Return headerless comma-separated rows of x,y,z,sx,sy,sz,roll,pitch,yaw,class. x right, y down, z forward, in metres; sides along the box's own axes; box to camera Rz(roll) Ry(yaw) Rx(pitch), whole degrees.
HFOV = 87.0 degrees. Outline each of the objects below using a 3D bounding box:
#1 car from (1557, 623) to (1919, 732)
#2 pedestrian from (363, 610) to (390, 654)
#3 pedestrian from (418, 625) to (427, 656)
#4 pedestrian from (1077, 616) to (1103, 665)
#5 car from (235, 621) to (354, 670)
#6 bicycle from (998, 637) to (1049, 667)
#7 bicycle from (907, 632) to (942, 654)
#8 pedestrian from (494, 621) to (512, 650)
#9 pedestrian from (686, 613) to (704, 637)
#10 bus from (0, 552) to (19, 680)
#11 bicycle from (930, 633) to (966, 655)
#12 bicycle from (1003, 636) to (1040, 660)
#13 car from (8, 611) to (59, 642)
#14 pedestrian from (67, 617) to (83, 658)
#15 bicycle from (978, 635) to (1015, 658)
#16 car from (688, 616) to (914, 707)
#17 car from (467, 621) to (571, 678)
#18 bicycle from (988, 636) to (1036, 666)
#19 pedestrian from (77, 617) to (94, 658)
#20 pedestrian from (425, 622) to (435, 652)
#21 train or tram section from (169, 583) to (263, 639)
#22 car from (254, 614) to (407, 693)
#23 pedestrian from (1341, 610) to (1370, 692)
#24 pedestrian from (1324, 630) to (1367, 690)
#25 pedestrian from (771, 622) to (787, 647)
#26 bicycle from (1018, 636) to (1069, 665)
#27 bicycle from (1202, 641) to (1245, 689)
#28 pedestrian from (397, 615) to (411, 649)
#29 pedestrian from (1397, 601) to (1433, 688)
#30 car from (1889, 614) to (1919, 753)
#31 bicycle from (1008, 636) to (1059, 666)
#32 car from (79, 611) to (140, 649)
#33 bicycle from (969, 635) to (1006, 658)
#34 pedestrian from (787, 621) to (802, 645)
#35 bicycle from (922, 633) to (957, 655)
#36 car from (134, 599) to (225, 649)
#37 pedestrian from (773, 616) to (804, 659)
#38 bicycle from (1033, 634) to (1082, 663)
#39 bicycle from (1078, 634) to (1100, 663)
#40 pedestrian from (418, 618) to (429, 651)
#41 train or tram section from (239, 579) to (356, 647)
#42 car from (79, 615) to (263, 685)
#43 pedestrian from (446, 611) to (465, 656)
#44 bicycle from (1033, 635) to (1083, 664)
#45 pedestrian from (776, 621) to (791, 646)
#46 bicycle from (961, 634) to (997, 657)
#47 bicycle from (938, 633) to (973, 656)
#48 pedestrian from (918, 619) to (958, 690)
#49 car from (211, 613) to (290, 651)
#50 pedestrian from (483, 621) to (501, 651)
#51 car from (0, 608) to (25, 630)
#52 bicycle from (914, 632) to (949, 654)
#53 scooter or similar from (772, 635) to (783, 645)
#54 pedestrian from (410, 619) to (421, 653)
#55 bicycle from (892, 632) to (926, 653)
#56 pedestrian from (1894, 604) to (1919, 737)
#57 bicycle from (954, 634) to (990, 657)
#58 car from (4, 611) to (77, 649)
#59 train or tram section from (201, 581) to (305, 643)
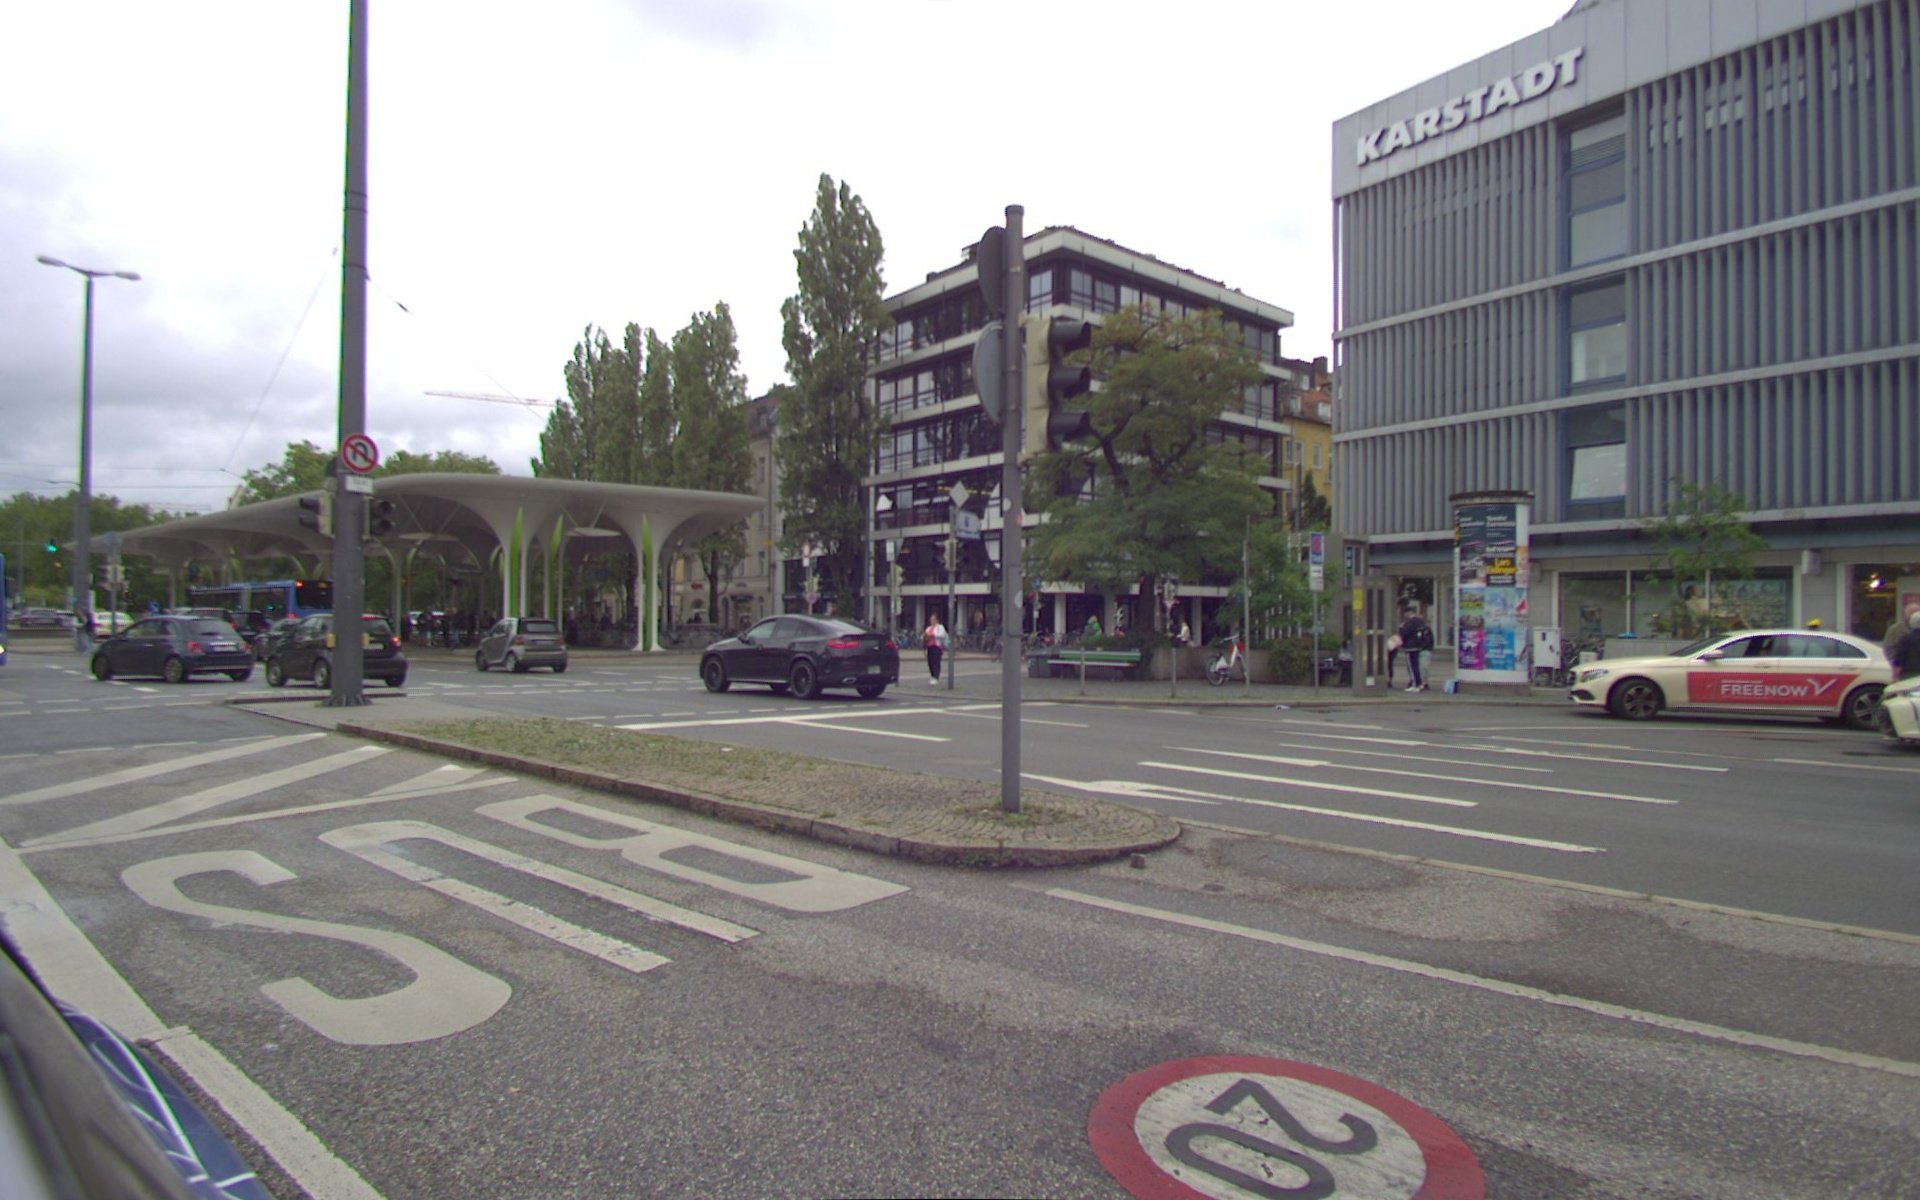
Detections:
11.977,1.129,15.966,4.277,1.522,1.842,-1,-2,27,car
-23.390,1.283,40.576,0.788,1.762,0.702,-1,-2,41,pedestrian
-24.068,1.808,45.309,0.312,1.353,0.340,1,-2,-32,pedestrian
4.632,1.433,35.976,0.647,1.748,0.757,-1,-2,34,pedestrian
-21.269,1.396,32.280,4.612,1.427,1.973,-1,-2,40,car
2.217,1.811,35.639,1.925,1.006,0.503,-1,-2,42,bicycle
-1.934,2.325,54.848,2.044,1.142,0.562,2,-2,-43,bicycle
-21.255,1.641,47.090,0.591,1.348,0.542,-1,-2,41,pedestrian
-19.688,1.851,75.304,0.944,1.786,0.978,0,-2,13,pedestrian
-27.574,0.383,25.645,11.181,2.966,2.910,0,0,33,bus
-0.631,2.324,53.518,2.044,1.142,0.562,2,-2,-43,bicycle
3.026,2.324,49.504,2.044,1.142,0.562,2,-2,-43,bicycle
-54.599,1.548,59.622,3.999,1.696,1.823,0,0,42,car
-31.228,1.321,35.706,0.380,1.430,0.352,-1,-2,41,pedestrian
1.836,2.325,50.678,2.044,1.142,0.562,2,-2,-43,bicycle
-3.224,1.118,19.950,4.616,1.589,1.972,-1,-2,43,car
-12.549,1.360,28.774,2.744,1.527,1.653,-1,-2,39,car
1.789,1.757,35.276,1.751,1.006,0.503,-1,-2,42,bicycle
-30.801,1.319,35.643,0.380,1.430,0.352,-1,-2,41,pedestrian
-23.885,1.667,45.632,0.270,1.387,0.299,-1,-2,39,pedestrian
-42.865,0.664,58.202,7.404,3.024,2.803,-1,-2,41,train or tram section
-13.154,1.070,21.161,2.776,1.518,1.547,0,-1,28,car
8.341,1.063,21.336,0.459,1.712,0.426,0,0,41,pedestrian
8.778,1.348,23.042,0.774,1.318,0.537,-1,-2,42,pedestrian
-12.333,2.359,68.906,0.821,1.712,0.907,1,-2,-27,pedestrian
2.999,1.799,36.525,1.925,1.006,0.503,-1,-2,42,bicycle
5.819,1.416,22.332,0.419,1.024,1.281,-1,-2,39,bicycle
-24.925,1.442,45.374,0.419,1.514,0.491,1,-2,-16,pedestrian
9.484,0.911,21.088,0.510,1.792,0.555,0,0,44,pedestrian
13.200,0.966,11.010,4.475,1.624,1.570,-1,-2,41,car
2.605,1.805,36.038,1.925,1.006,0.503,-1,-2,42,bicycle
-41.120,1.420,48.916,3.999,1.696,1.737,0,0,42,car
1.408,2.325,51.122,2.044,1.142,0.562,2,-2,-43,bicycle
-11.872,2.369,72.678,0.788,1.737,0.828,1,-2,-37,pedestrian
-1.097,2.324,54.000,2.044,1.142,0.562,2,-2,-43,bicycle
-30.038,0.901,38.904,4.306,1.785,1.972,0,-2,42,car
-7.163,1.558,42.228,0.980,1.791,0.849,-1,-2,42,pedestrian
3.616,1.788,37.645,1.925,1.006,0.503,-1,-2,42,bicycle
4.747,1.782,37.273,0.503,1.006,1.926,0,-1,-2,bicycle
-24.260,1.561,45.755,0.316,1.514,0.331,-1,-2,32,pedestrian
-31.764,0.642,48.411,7.404,3.024,2.803,-1,-2,41,train or tram section
-17.763,1.103,22.816,3.359,1.491,1.619,0,-2,17,car
-21.411,1.424,42.908,0.656,1.865,0.790,1,-2,-29,pedestrian
3.549,1.794,36.760,1.925,1.006,0.503,-1,-2,42,bicycle
-12.582,2.382,72.109,0.788,1.737,0.828,1,-2,-37,pedestrian
0.988,2.326,51.557,2.044,1.142,0.562,2,-2,-43,bicycle
-0.221,2.324,53.055,2.044,1.142,0.562,2,-2,-43,bicycle
-0.504,1.236,23.195,0.754,1.563,0.636,0,0,16,pedestrian
-30.939,1.377,44.092,3.998,1.597,1.907,-1,-2,42,car
-21.532,1.647,46.584,0.591,1.348,0.542,-1,-2,41,pedestrian
-69.578,1.352,73.675,3.998,1.549,1.824,0,0,41,car
-1.506,2.325,54.419,2.044,1.142,0.562,2,-2,-43,bicycle
-13.120,2.881,72.648,0.511,0.720,0.681,1,-2,-38,scooter or similar
-24.496,1.612,45.529,0.316,1.514,0.317,-1,-2,32,pedestrian
-2.802,2.325,55.726,2.044,1.142,0.562,2,-2,-43,bicycle
12.739,0.926,13.470,0.428,1.742,0.518,0,0,41,pedestrian
0.617,2.325,52.038,2.044,1.142,0.562,2,-2,-43,bicycle
-38.618,1.210,42.462,3.999,1.480,1.897,0,0,42,car
-37.305,0.654,53.308,7.404,3.024,2.803,-1,-2,41,train or tram section
